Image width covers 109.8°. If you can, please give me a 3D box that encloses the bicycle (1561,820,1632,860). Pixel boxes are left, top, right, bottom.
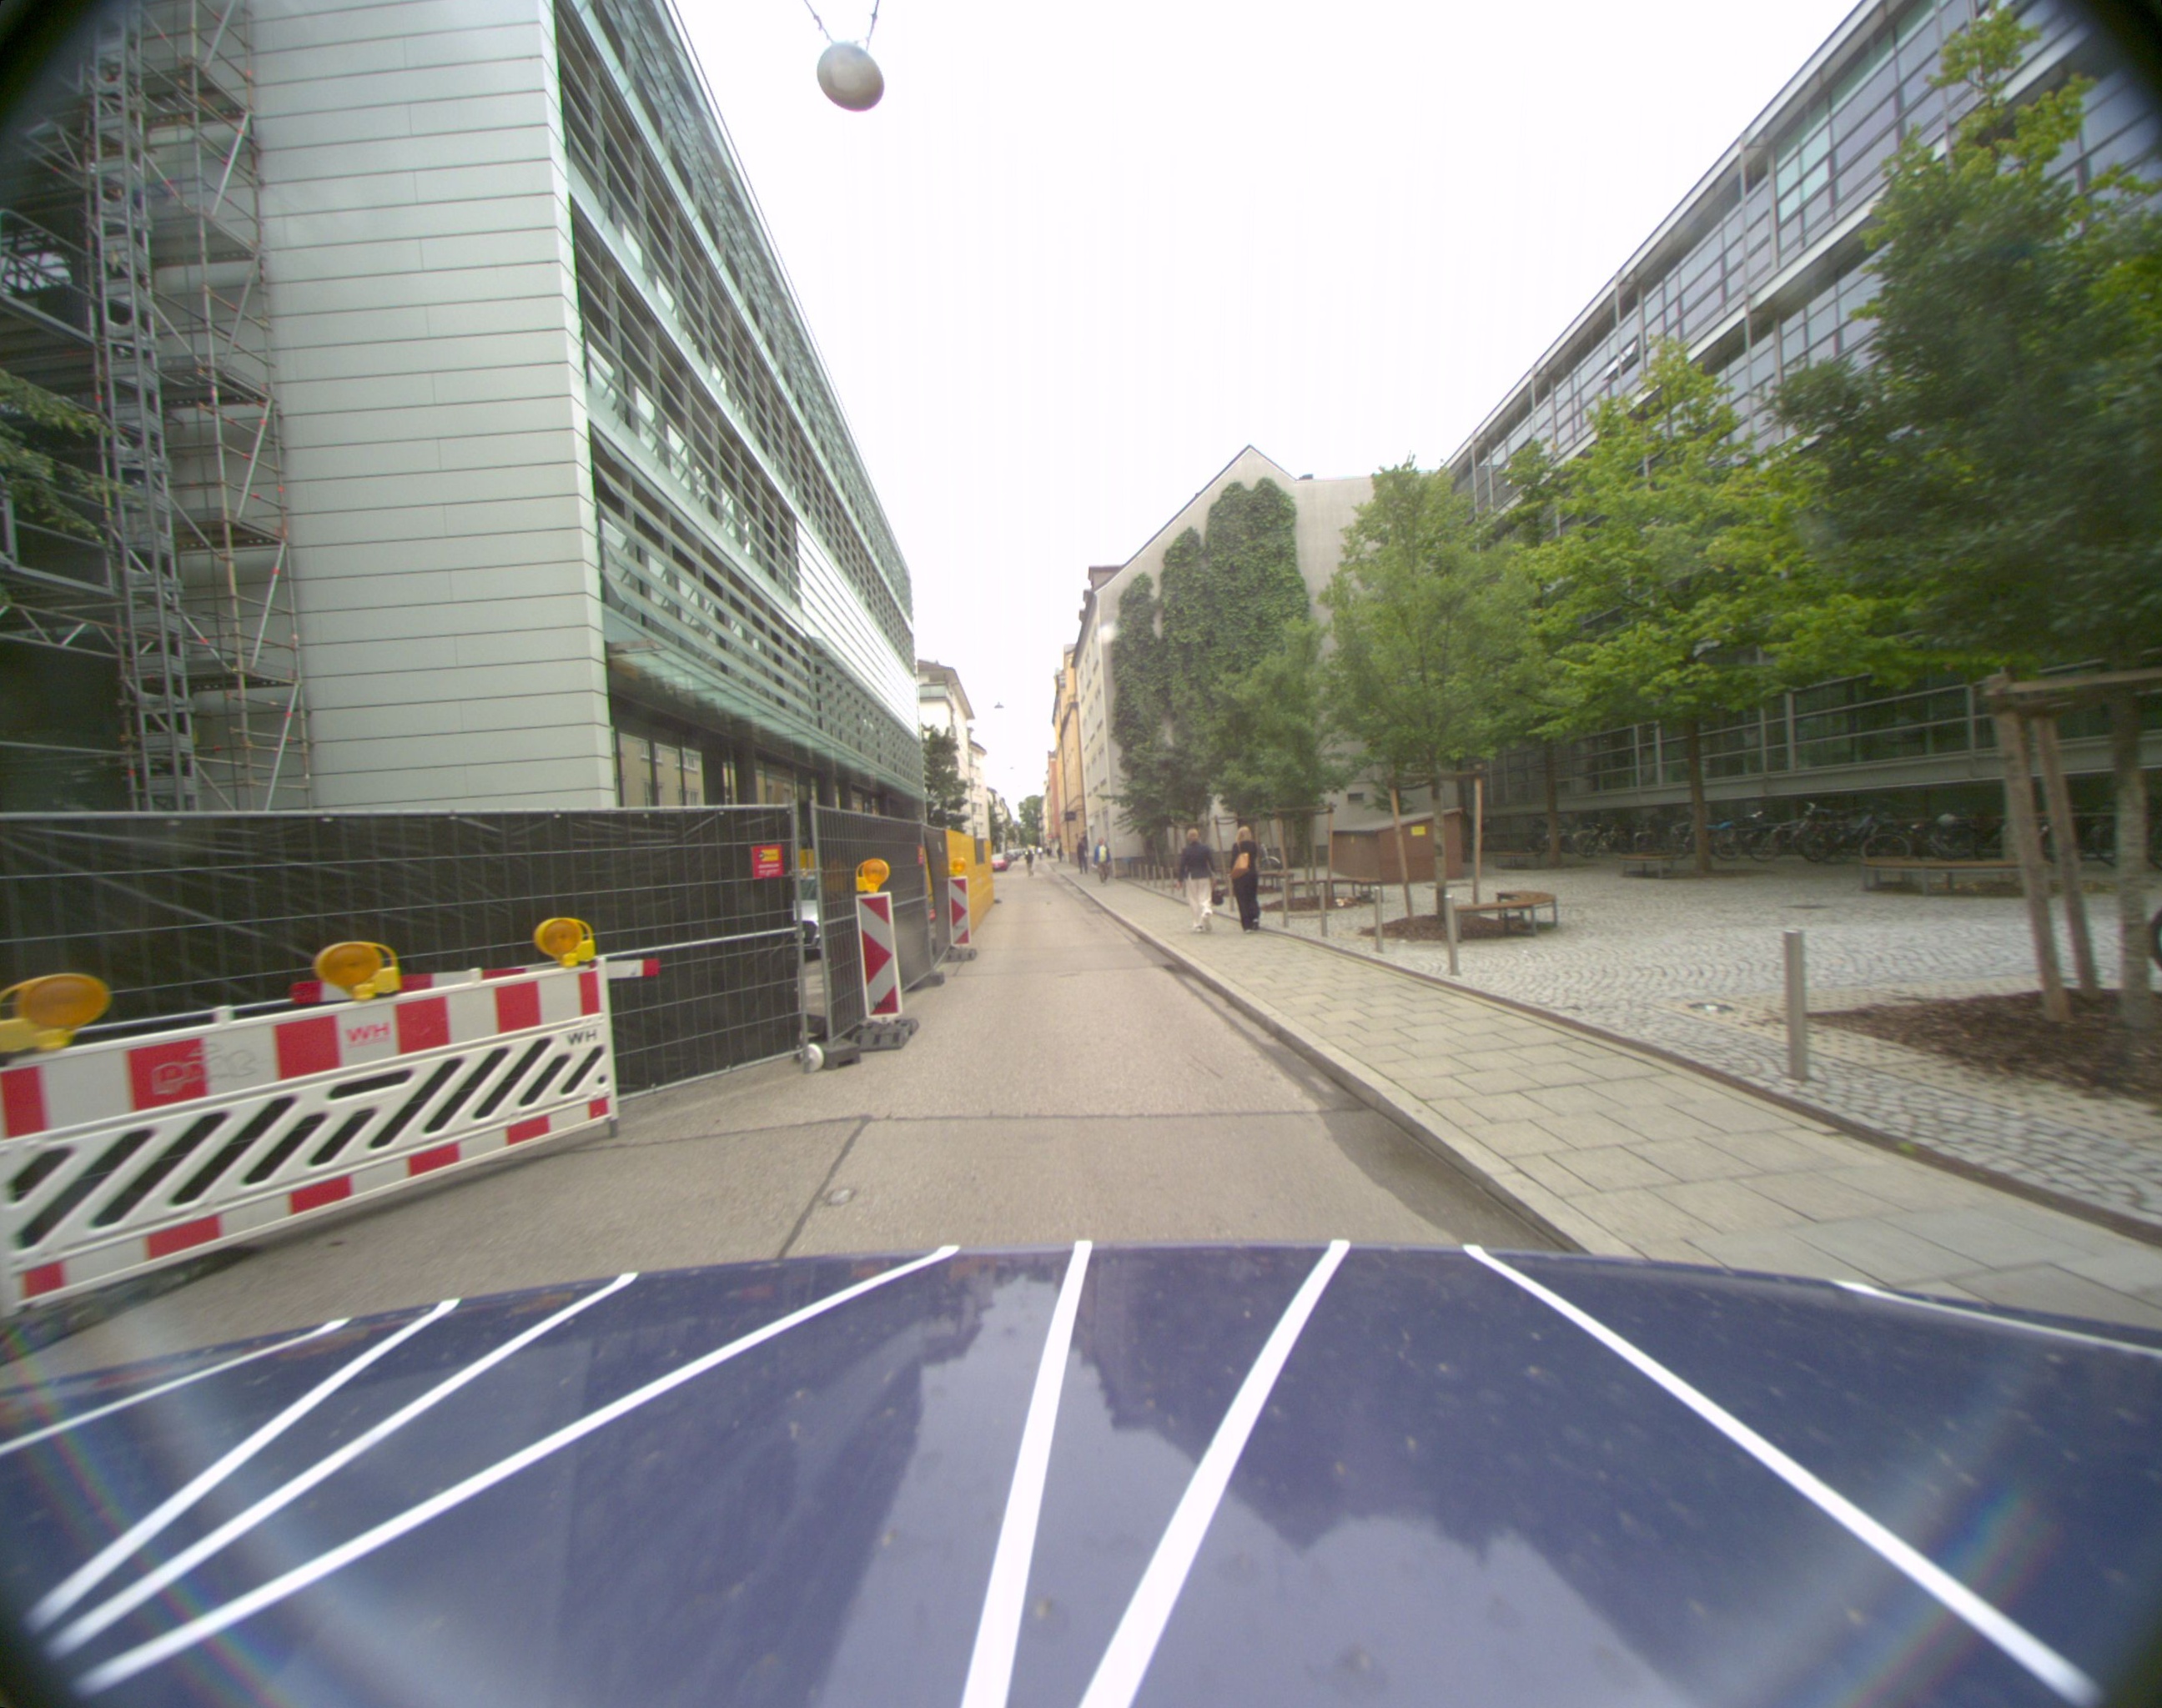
[{"bbox_3d":[14.895,-0.406,21.986,1.575,1.054,0.628,-4,1,0],"label":"bicycle"}]

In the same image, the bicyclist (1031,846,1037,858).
[{"bbox_3d":[-5.736,-0.295,92.986,0.700,1.400,0.768,-4,1,-5],"label":"bicyclist"}]

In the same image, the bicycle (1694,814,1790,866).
[{"bbox_3d":[14.954,-0.311,17.213,1.575,1.054,0.628,-4,1,0],"label":"bicycle"}]

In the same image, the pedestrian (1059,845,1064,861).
[{"bbox_3d":[-2.052,-0.105,79.583,0.352,1.632,0.401,-4,1,-4],"label":"pedestrian"}]

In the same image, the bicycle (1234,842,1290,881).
[{"bbox_3d":[5.956,0.247,25.125,0.714,1.202,1.995,-6,2,-21],"label":"bicycle"}]

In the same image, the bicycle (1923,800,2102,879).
[{"bbox_3d":[14.699,-0.231,12.026,1.902,1.069,0.708,-4,1,1],"label":"bicycle"}]

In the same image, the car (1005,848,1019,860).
[{"bbox_3d":[-9.577,-0.053,105.994,1.794,1.550,3.998,-4,1,-4],"label":"car"}]

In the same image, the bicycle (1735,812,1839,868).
[{"bbox_3d":[14.877,-0.284,16.029,1.575,1.054,0.628,-4,1,0],"label":"bicycle"}]

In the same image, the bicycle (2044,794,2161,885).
[{"bbox_3d":[14.685,-0.229,10.397,1.902,1.119,0.826,-4,1,1],"label":"bicycle"}]

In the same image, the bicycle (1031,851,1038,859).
[{"bbox_3d":[-5.715,0.137,93.043,0.700,0.977,1.948,-4,1,-4],"label":"bicycle"}]

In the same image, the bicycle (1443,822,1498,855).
[{"bbox_3d":[14.998,-0.595,29.268,1.725,1.136,0.602,-4,1,2],"label":"bicycle"}]

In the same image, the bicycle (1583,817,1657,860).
[{"bbox_3d":[15.034,-0.429,21.227,1.575,1.054,0.628,-4,1,0],"label":"bicycle"}]

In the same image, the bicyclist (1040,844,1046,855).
[{"bbox_3d":[-4.730,-0.548,94.490,0.718,1.400,0.965,-4,1,-5],"label":"bicyclist"}]

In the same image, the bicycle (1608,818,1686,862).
[{"bbox_3d":[15.140,-0.375,20.346,1.575,1.054,0.628,-4,1,0],"label":"bicycle"}]

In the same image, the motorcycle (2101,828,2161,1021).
[{"bbox_3d":[6.905,0.445,3.939,0.577,1.166,1.980,-5,1,2],"label":"motorcycle"}]

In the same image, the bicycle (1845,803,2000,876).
[{"bbox_3d":[14.674,-0.245,13.282,1.902,1.099,0.666,-4,1,1],"label":"bicycle"}]

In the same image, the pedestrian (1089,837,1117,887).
[{"bbox_3d":[0.843,0.280,29.283,0.861,1.834,0.973,-5,1,-2],"label":"pedestrian"}]

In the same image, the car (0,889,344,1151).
[{"bbox_3d":[-8.762,1.316,6.074,3.747,1.669,1.774,-5,1,-3],"label":"car"}]

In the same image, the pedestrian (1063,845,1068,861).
[{"bbox_3d":[-1.646,-0.128,79.651,0.386,1.666,0.448,-3,2,-6],"label":"pedestrian"}]

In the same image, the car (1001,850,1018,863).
[{"bbox_3d":[-7.816,0.265,83.494,1.625,1.259,4.327,-4,1,-4],"label":"car"}]

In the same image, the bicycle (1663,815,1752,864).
[{"bbox_3d":[15.033,-0.345,18.241,1.575,1.054,0.628,-4,1,0],"label":"bicycle"}]

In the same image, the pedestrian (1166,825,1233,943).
[{"bbox_3d":[1.930,0.466,12.487,0.778,1.826,0.991,-4,1,-4],"label":"pedestrian"}]

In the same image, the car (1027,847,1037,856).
[{"bbox_3d":[-10.180,-0.507,158.621,1.999,1.583,4.373,-4,1,-4],"label":"car"}]

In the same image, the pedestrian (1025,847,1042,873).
[{"bbox_3d":[-2.966,0.385,47.588,0.712,1.543,0.775,-5,1,-25],"label":"pedestrian"}]

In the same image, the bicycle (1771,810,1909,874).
[{"bbox_3d":[14.634,-0.231,14.686,1.902,1.052,0.705,-4,1,1],"label":"bicycle"}]

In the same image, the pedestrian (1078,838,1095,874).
[{"bbox_3d":[0.311,0.087,41.540,0.745,1.892,0.878,-5,1,-3],"label":"pedestrian"}]

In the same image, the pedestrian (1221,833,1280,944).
[{"bbox_3d":[2.646,0.512,11.938,0.554,1.650,0.997,-4,1,-4],"label":"pedestrian"}]

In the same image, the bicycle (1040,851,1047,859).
[{"bbox_3d":[-4.691,0.071,94.512,0.700,0.926,1.693,-4,1,-4],"label":"bicycle"}]

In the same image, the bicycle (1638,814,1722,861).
[{"bbox_3d":[15.006,-0.406,19.059,1.575,1.054,0.628,-4,1,0],"label":"bicycle"}]

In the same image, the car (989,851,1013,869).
[{"bbox_3d":[-6.993,0.477,66.559,1.810,1.390,3.998,-4,1,-4],"label":"car"}]
